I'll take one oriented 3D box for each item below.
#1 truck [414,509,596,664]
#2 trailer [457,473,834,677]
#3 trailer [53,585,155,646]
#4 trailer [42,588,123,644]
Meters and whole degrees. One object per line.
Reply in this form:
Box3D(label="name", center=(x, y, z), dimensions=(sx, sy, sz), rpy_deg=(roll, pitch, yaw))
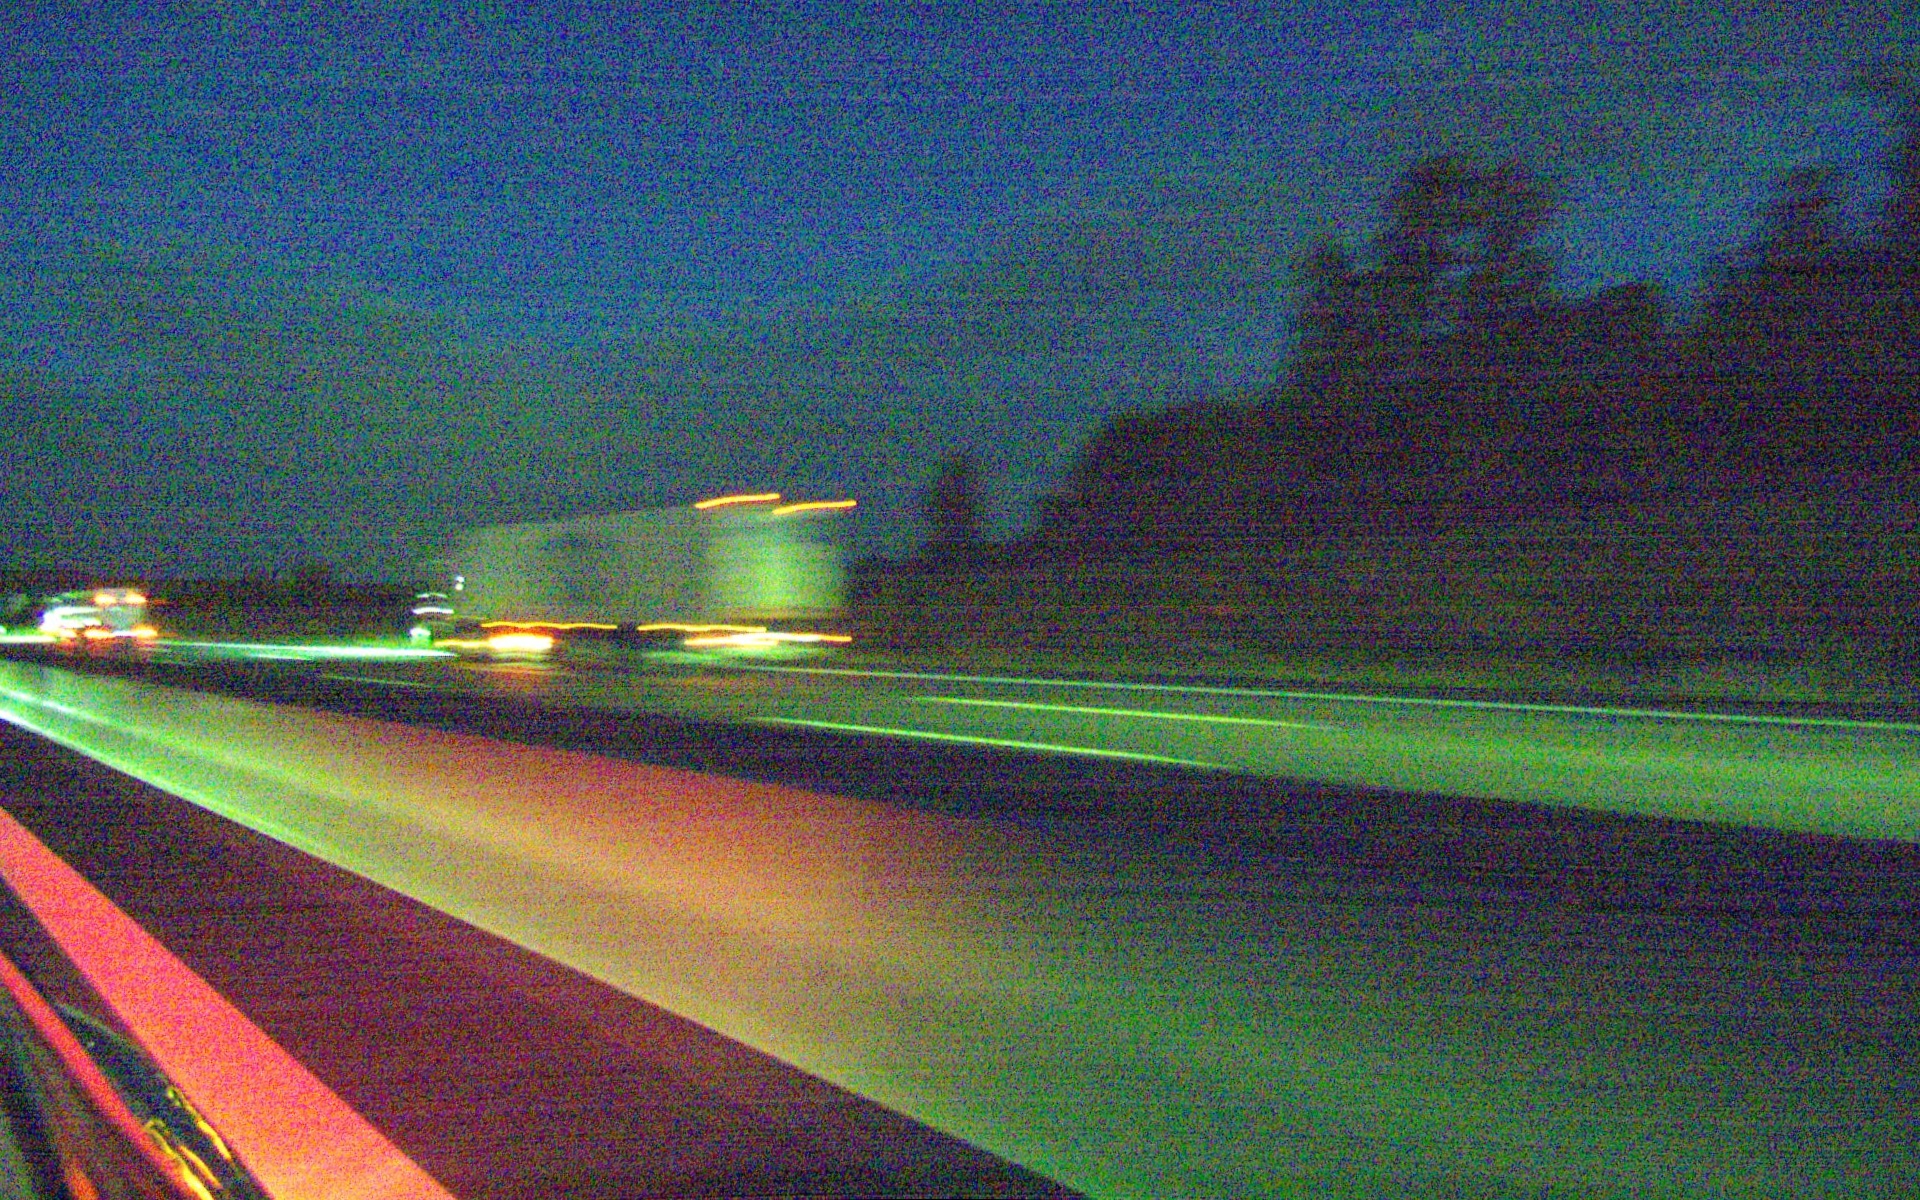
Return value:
Box3D(label="truck", center=(-14.650, -0.366, 32.381), dimensions=(6.392, 4.467, 2.823), rpy_deg=(-1, 0, 41))
Box3D(label="trailer", center=(-9.275, -0.465, 27.772), dimensions=(13.971, 4.467, 2.823), rpy_deg=(-1, 0, 41))
Box3D(label="trailer", center=(-55.992, 1.002, 66.069), dimensions=(11.675, 3.717, 3.027), rpy_deg=(-1, 0, 39))
Box3D(label="trailer", center=(-60.763, 1.091, 70.019), dimensions=(7.222, 3.717, 3.027), rpy_deg=(-1, 0, 39))
